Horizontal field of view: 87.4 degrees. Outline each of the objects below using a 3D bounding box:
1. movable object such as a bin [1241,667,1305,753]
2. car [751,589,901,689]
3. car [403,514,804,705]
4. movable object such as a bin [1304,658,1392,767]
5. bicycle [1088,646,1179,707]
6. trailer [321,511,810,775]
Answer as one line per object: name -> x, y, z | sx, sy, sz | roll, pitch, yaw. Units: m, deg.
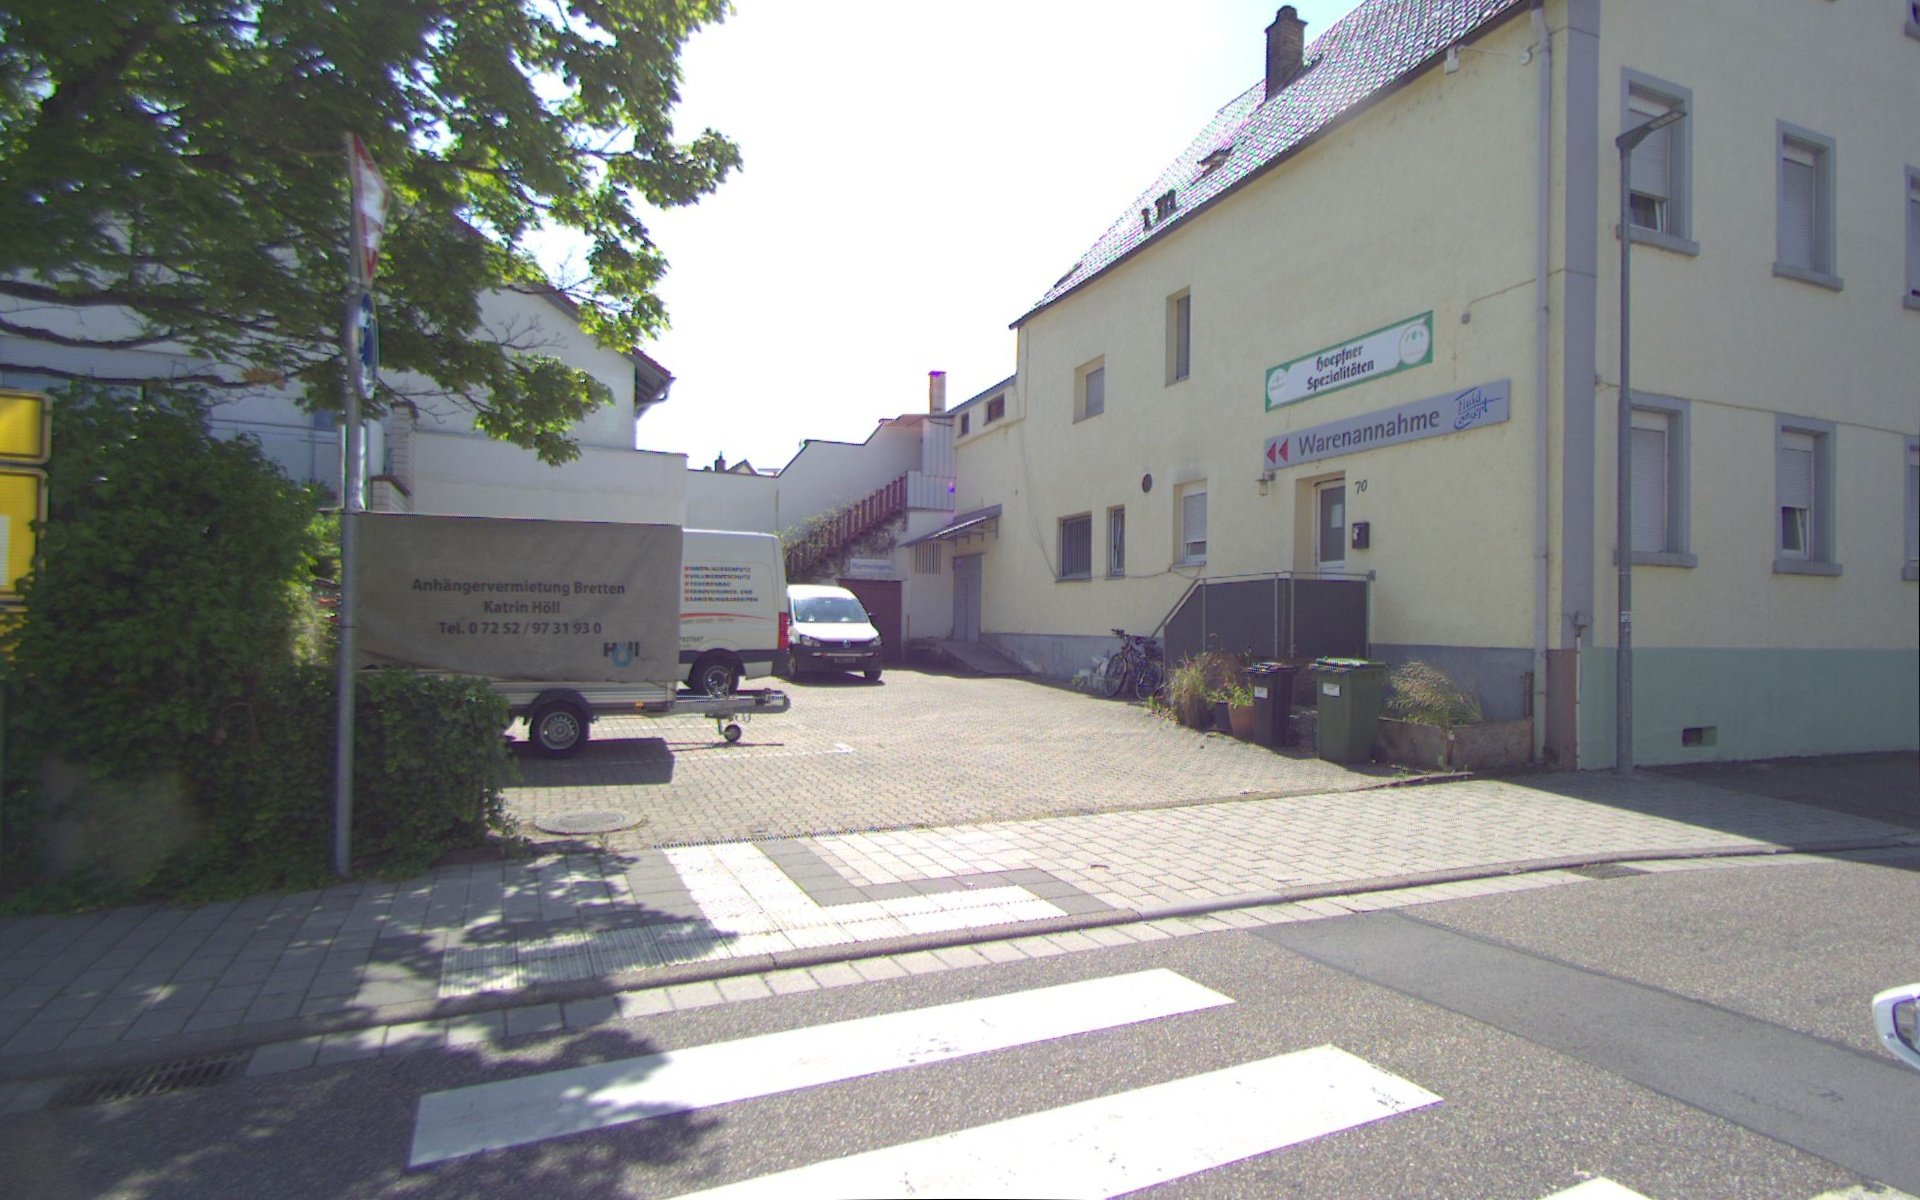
movable object such as a bin -> 3.601, 1.250, 11.566 | 0.539, 0.940, 0.478 | 1, -1, -22
car -> -2.857, 0.695, 20.453 | 1.878, 1.783, 4.556 | 2, 0, -23
car -> -5.413, 0.174, 15.720 | 5.569, 2.601, 1.931 | 1, 0, -24
movable object such as a bin -> 4.112, 1.173, 10.674 | 0.649, 1.093, 0.598 | 1, -1, -22
bicycle -> 2.869, 1.245, 16.857 | 0.534, 0.925, 2.168 | 1, -2, -19
trailer -> -4.039, 0.414, 10.762 | 4.460, 2.367, 1.874 | 1, 0, -24
